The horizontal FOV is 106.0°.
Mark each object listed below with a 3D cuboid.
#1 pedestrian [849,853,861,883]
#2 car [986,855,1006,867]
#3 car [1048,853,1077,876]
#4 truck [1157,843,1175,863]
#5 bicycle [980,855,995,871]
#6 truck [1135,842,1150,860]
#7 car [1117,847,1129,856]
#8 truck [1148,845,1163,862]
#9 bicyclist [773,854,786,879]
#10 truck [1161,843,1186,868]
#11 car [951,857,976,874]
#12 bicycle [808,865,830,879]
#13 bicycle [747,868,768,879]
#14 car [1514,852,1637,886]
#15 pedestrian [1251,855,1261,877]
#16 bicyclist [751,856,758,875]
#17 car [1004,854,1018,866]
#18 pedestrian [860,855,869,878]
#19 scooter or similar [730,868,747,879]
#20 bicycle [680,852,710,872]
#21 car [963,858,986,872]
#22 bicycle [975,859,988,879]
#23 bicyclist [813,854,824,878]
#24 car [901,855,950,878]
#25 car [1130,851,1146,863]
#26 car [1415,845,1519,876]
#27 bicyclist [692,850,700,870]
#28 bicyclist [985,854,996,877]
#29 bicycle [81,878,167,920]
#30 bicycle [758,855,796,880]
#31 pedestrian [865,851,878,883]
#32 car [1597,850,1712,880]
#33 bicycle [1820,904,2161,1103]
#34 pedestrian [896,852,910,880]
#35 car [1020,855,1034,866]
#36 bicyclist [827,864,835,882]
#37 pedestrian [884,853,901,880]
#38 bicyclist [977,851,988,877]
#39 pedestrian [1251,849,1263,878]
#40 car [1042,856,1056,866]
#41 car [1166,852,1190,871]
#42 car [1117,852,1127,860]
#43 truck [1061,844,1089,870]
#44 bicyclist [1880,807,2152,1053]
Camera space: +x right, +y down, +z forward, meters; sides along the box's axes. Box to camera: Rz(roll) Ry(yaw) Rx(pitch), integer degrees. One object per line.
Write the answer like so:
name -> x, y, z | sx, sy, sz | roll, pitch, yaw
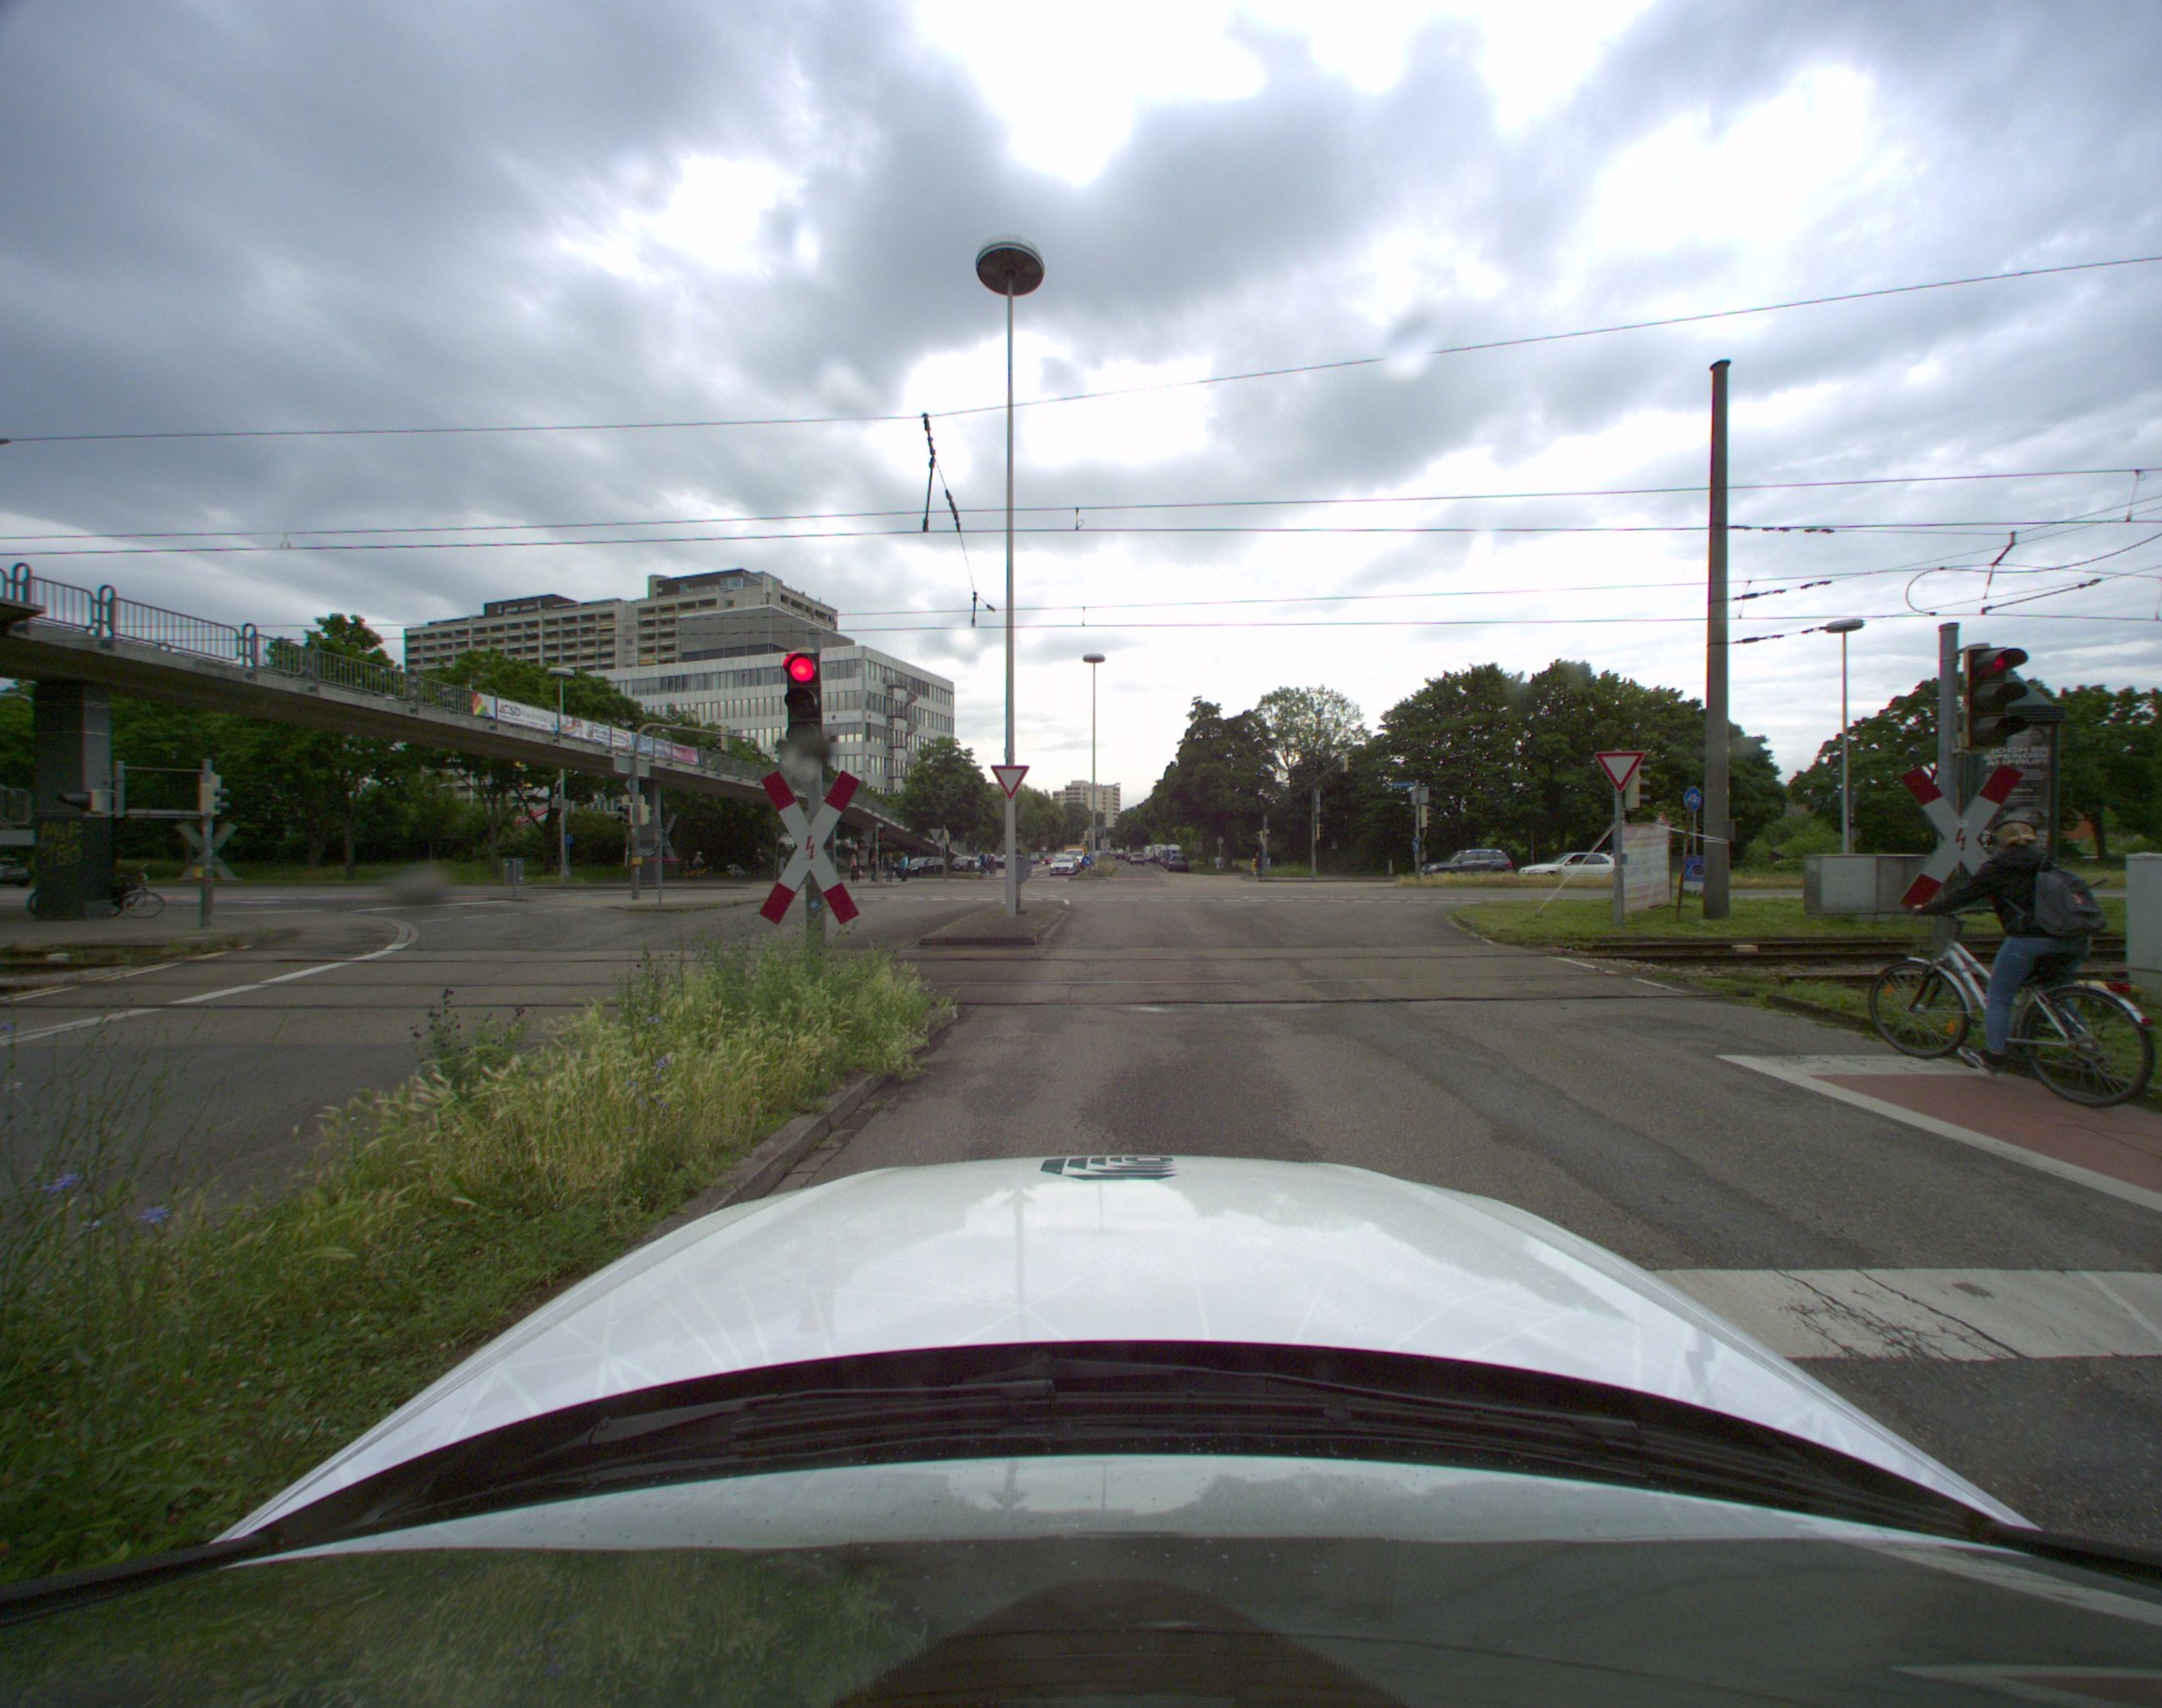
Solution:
pedestrian -> -12.732, 0.798, 45.849 | 0.619, 1.691, 0.403 | 0, 0, -12
car -> -10.062, 0.821, 96.530 | 1.757, 1.395, 4.002 | 0, 0, 2
car -> -1.275, 0.715, 58.102 | 1.782, 1.519, 4.327 | 0, 0, 2
truck -> 12.497, -0.176, 119.994 | 1.988, 2.838, 5.727 | 0, 0, -2
bicycle -> -6.651, 0.645, 57.960 | 0.724, 1.101, 2.265 | 0, 0, 2
truck -> 10.789, -0.447, 142.920 | 1.988, 3.009, 5.768 | 0, -1, -1
car -> 7.238, -0.497, 141.911 | 2.013, 1.505, 4.002 | 0, 0, 2
truck -> 12.095, -0.068, 132.085 | 1.987, 2.573, 5.377 | 0, -1, 0
bicyclist -> -19.980, 0.804, 53.948 | 0.751, 1.625, 0.523 | 0, 0, -27
truck -> 10.273, 0.206, 90.675 | 2.166, 2.656, 6.249 | -1, -1, 2
car -> -11.209, 1.043, 78.096 | 1.665, 1.552, 3.894 | 0, 0, 3
bicycle -> -18.034, 1.231, 56.171 | 0.628, 0.925, 2.524 | 0, 0, 2
bicycle -> -21.953, 1.326, 55.199 | 1.303, 0.692, 0.287 | 0, 0, -34
car -> 20.519, 0.616, 33.922 | 4.120, 1.357, 1.648 | 0, 0, 2
pedestrian -> 10.711, 0.750, 49.820 | 0.525, 1.342, 0.525 | 0, 0, 1
bicyclist -> -22.107, 0.776, 55.106 | 0.385, 1.303, 0.275 | 0, 0, -35
car -> -9.239, 0.794, 107.183 | 1.439, 1.552, 3.666 | 0, 0, 2
pedestrian -> -14.980, 0.892, 56.431 | 0.580, 1.579, 0.777 | 0, 0, -16
scooter or similar -> -22.918, 1.274, 54.510 | 1.001, 0.715, 0.402 | 0, 0, -34
bicycle -> -25.302, 0.543, 53.387 | 1.706, 1.304, 0.387 | 0, 0, -13
car -> -10.864, 1.104, 83.587 | 1.665, 1.387, 3.898 | 0, 0, 3
bicycle -> -6.743, 1.000, 55.444 | 0.541, 1.267, 2.112 | 0, 0, 2
bicyclist -> -18.101, 0.809, 56.250 | 0.563, 1.644, 0.532 | 0, -1, 2
car -> -10.983, 0.861, 57.806 | 1.658, 1.552, 4.019 | 0, 0, 18
car -> 7.565, 0.353, 108.507 | 2.013, 1.505, 4.002 | 0, 0, 2
car -> 19.604, 0.325, 41.518 | 4.447, 1.504, 1.847 | 0, 0, 2
bicyclist -> -25.265, 0.395, 53.431 | 0.406, 1.253, 0.275 | 0, 0, -16
bicyclist -> -6.507, 0.835, 58.743 | 0.676, 1.594, 0.695 | 0, -1, 1
bicycle -> -21.683, 1.003, 18.449 | 2.017, 0.921, 0.375 | 0, 0, 13
bicycle -> -20.104, 0.871, 53.875 | 2.371, 1.625, 0.523 | 0, 0, -27
pedestrian -> -11.879, 0.741, 46.225 | 0.636, 1.803, 0.800 | 0, 0, -7
car -> 28.807, 0.526, 41.011 | 4.447, 1.440, 1.847 | 0, 0, 2
bicycle -> 6.078, 0.885, 5.497 | 0.381, 0.980, 2.030 | 0, -1, 2
pedestrian -> -10.085, 0.682, 46.173 | 0.685, 1.605, 0.487 | 0, 0, -3
car -> -8.329, 0.975, 125.938 | 1.665, 1.552, 4.003 | 0, 0, 3
bicyclist -> -16.937, 1.305, 55.204 | 0.403, 1.181, 0.378 | 0, 1, 4
pedestrian -> -10.697, 0.715, 46.193 | 0.917, 1.511, 0.402 | 0, 0, -10
bicyclist -> -6.737, 0.691, 55.938 | 0.642, 1.768, 0.647 | 0, 0, 1
pedestrian -> 10.612, 0.573, 49.157 | 0.654, 1.750, 0.459 | 0, 0, 1
car -> -4.583, 1.065, 116.481 | 1.505, 1.390, 3.537 | 0, -1, 4
car -> 8.793, 0.619, 73.898 | 1.777, 1.662, 4.002 | 0, 0, 2
car -> 7.710, 0.438, 154.765 | 1.550, 1.505, 3.997 | 0, 0, -2
truck -> -0.485, 0.247, 72.228 | 2.147, 2.199, 5.844 | 0, 0, 3
bicyclist -> 6.031, 0.451, 5.322 | 0.619, 1.424, 0.961 | 4, 0, 1
